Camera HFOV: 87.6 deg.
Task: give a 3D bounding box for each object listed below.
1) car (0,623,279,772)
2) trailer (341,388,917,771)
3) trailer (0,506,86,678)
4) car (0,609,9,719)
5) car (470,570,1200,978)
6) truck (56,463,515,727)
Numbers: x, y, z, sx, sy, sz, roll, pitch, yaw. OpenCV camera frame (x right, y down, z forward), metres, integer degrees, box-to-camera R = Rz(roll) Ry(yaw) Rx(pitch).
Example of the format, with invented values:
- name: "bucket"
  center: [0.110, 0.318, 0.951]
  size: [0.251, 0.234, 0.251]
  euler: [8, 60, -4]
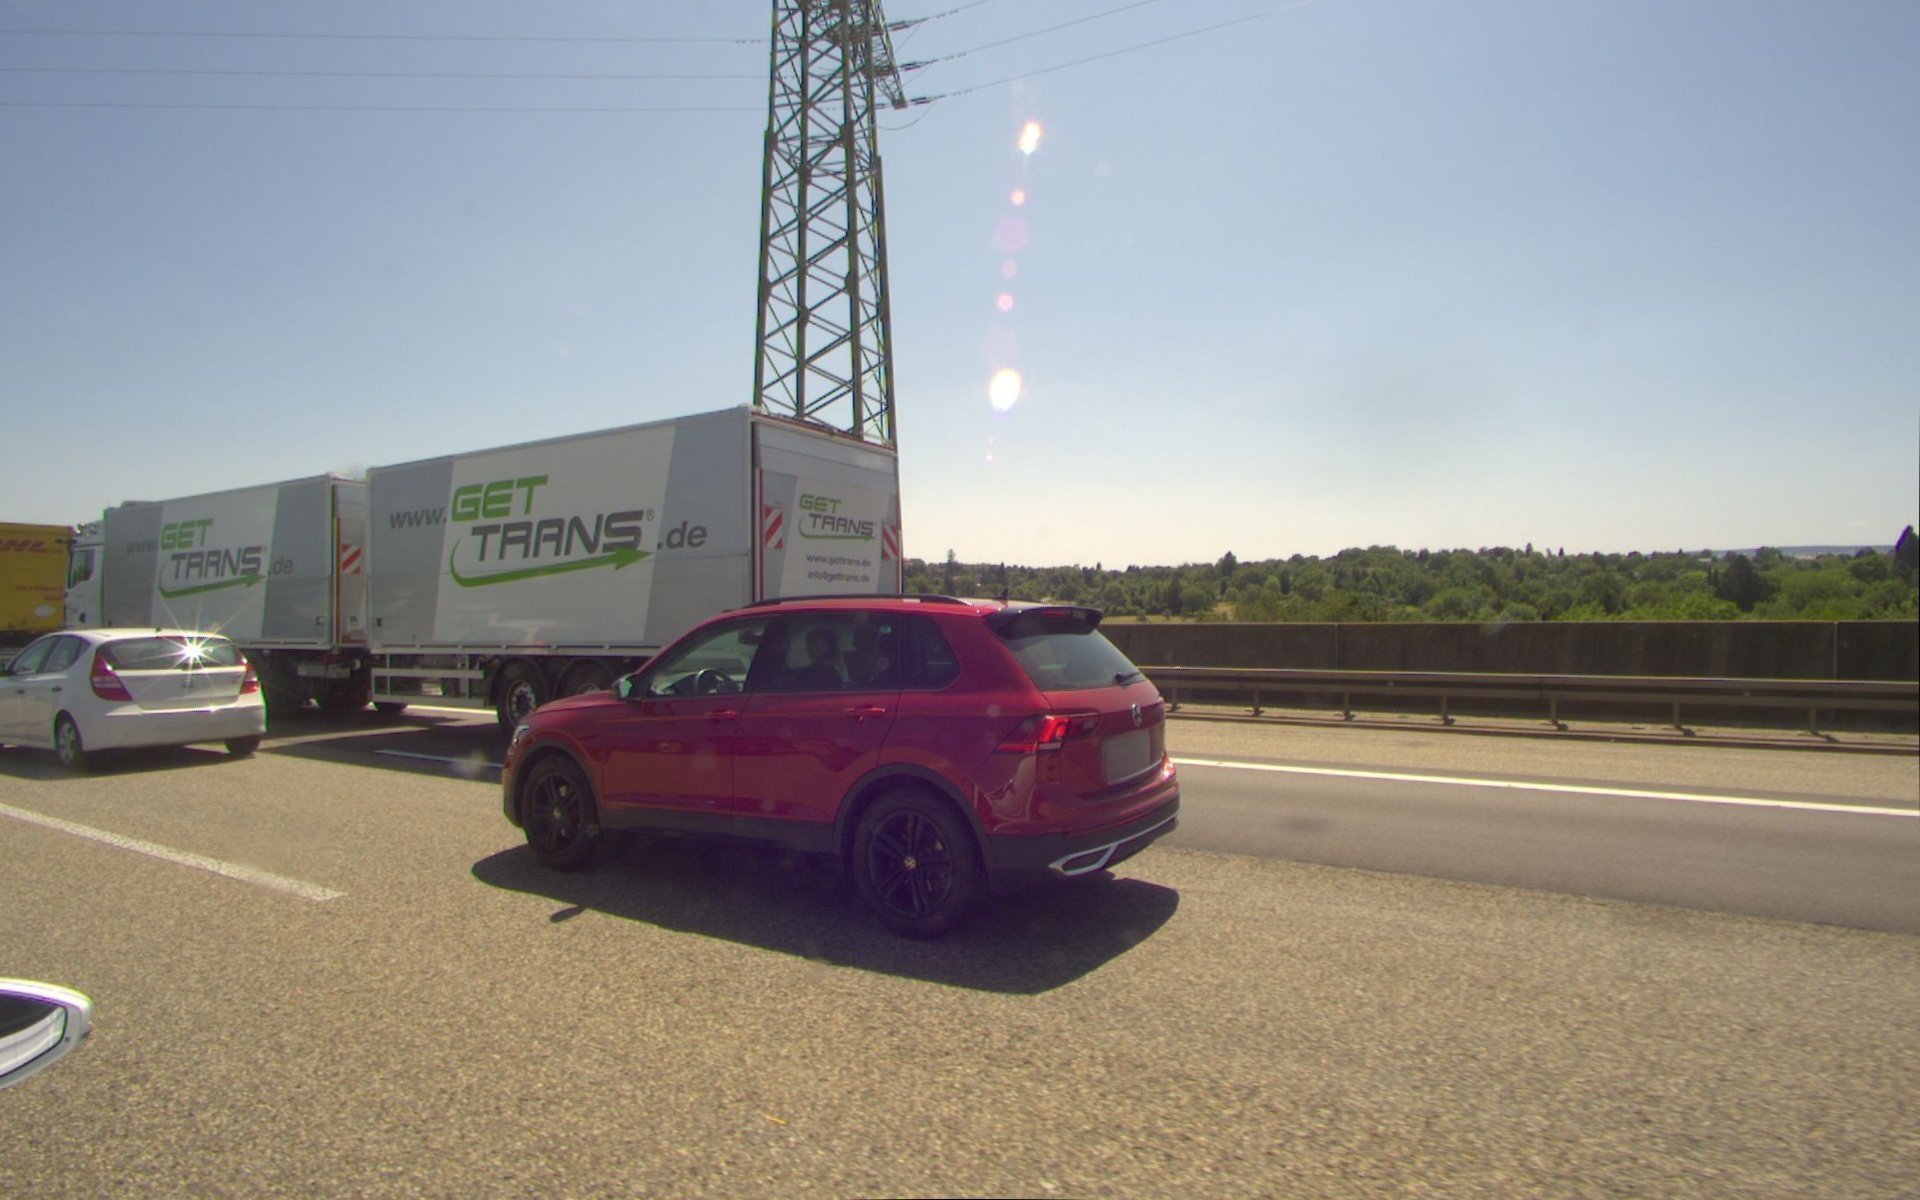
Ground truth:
- name: "car"
  center: [-10.083, 1.022, 11.880]
  size: [4.231, 1.474, 1.785]
  euler: [-1, -1, 32]
- name: "trailer"
  center: [-4.576, -0.136, 13.037]
  size: [7.899, 3.748, 2.693]
  euler: [-1, 0, 32]
- name: "trailer"
  center: [-27.555, -0.113, 27.552]
  size: [8.883, 4.293, 2.860]
  euler: [-1, -2, 32]
- name: "car"
  center: [-16.712, 0.985, 15.466]
  size: [4.231, 1.666, 1.958]
  euler: [-1, -1, 32]
- name: "car"
  center: [-0.872, 0.761, 5.986]
  size: [4.163, 1.683, 1.772]
  euler: [-1, -1, 32]
- name: "truck"
  center: [-12.529, 0.013, 18.014]
  size: [10.851, 3.695, 2.652]
  euler: [-1, 0, 32]
